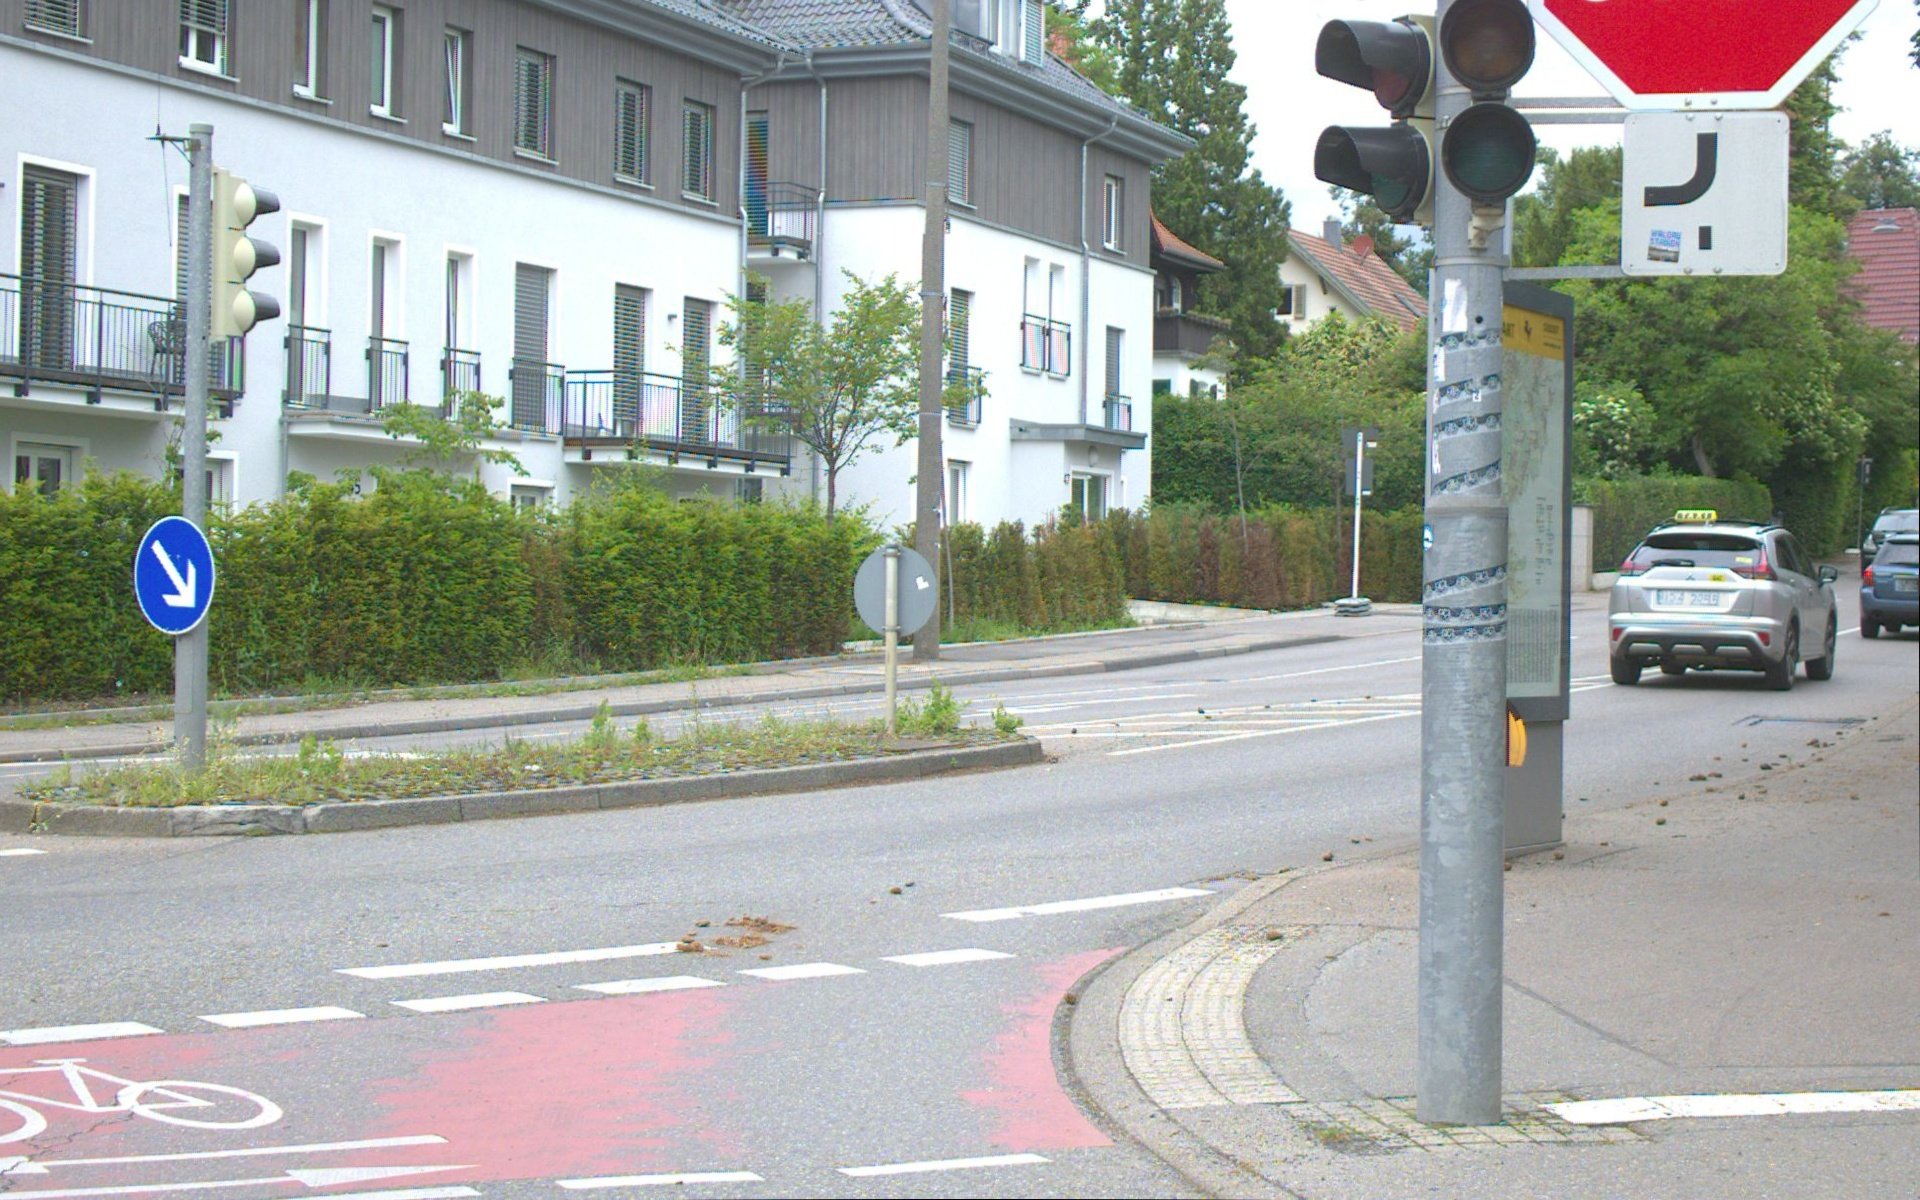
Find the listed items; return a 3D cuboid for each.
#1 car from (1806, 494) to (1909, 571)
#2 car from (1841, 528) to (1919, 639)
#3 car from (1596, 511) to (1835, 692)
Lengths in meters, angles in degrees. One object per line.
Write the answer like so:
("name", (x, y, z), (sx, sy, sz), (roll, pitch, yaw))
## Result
("car", (22.997, -1.697, 87.980), (1.914, 1.874, 5.136), (-1, 0, 22))
("car", (13.918, -0.278, 49.489), (1.802, 1.522, 4.738), (0, 1, 22))
("car", (7.874, -0.021, 35.555), (1.809, 1.747, 4.483), (0, 1, 20))
